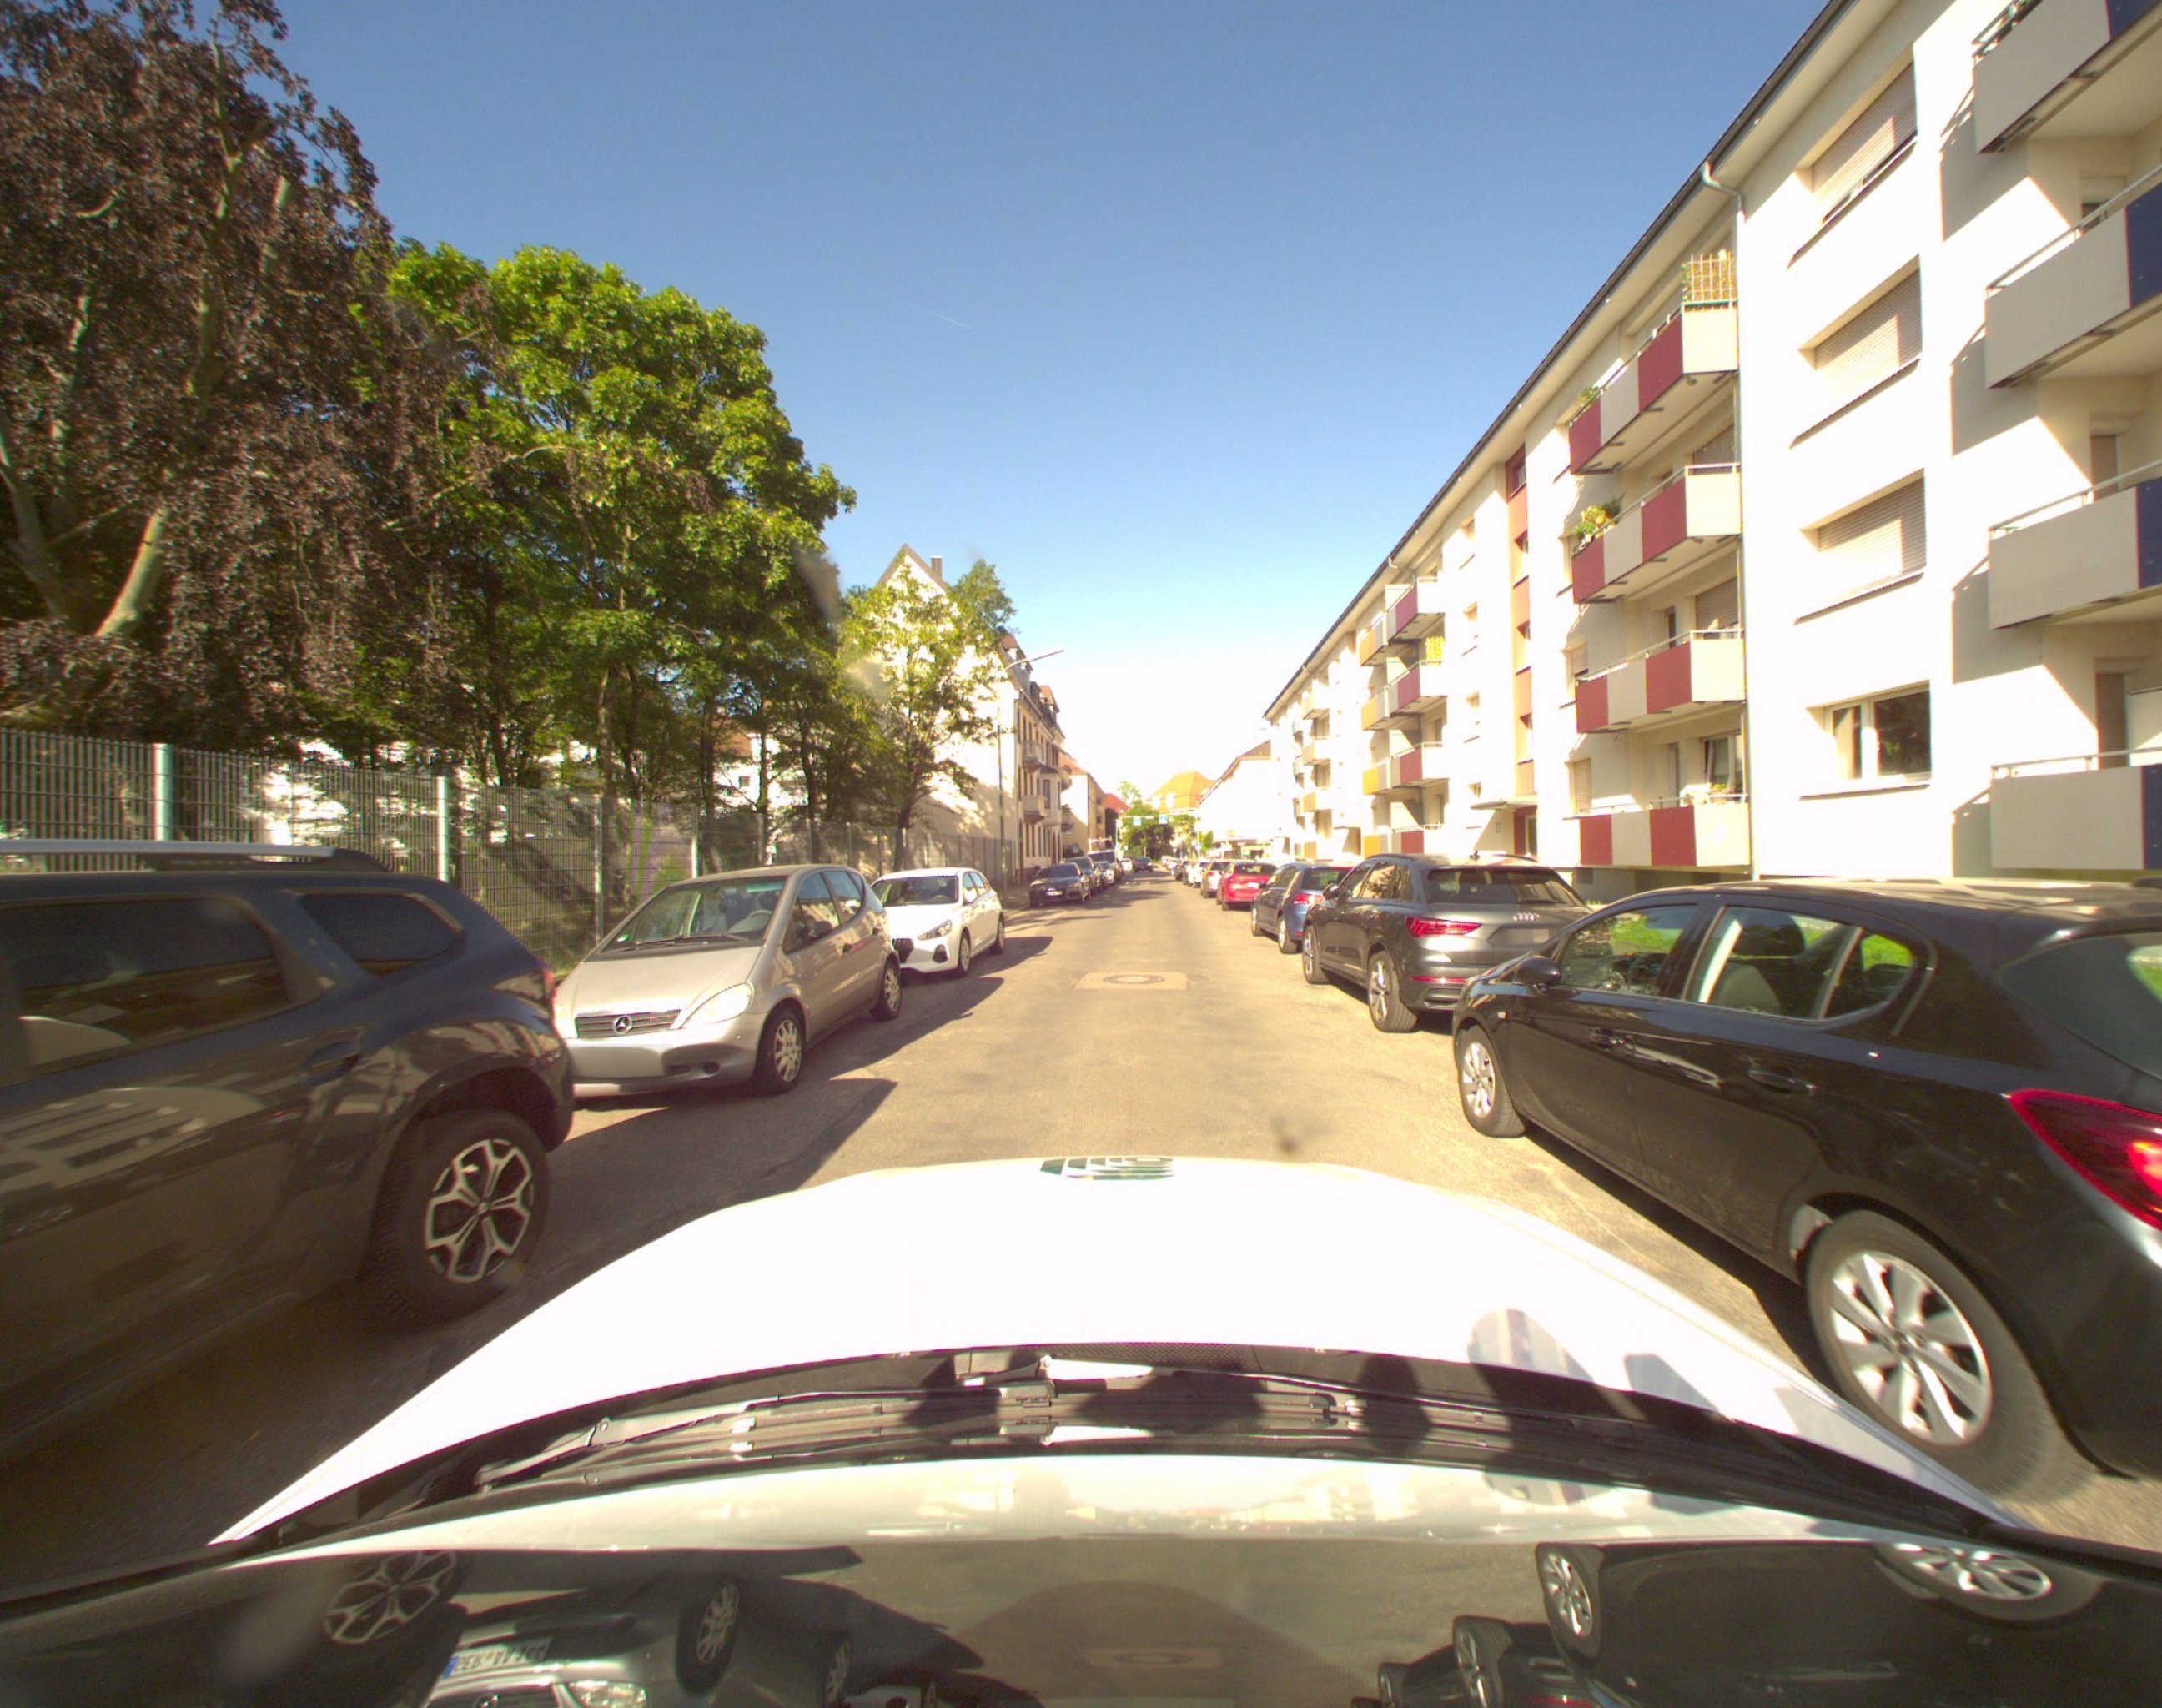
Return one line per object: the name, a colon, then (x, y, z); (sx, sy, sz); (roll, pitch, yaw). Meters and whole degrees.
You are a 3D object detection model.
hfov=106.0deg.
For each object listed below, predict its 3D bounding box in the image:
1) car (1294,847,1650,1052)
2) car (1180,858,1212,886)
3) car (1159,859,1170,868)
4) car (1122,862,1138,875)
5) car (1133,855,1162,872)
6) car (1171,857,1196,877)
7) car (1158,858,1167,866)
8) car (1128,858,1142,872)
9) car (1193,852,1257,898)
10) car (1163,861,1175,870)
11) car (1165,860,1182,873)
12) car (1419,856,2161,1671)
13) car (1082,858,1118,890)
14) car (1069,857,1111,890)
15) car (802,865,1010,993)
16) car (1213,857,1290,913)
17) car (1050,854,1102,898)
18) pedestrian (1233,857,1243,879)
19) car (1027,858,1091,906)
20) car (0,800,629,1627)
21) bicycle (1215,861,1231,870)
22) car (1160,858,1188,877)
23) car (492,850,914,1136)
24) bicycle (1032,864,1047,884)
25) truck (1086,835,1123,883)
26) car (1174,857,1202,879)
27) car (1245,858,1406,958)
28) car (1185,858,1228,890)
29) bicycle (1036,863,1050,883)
car: (3.540, 0.750, 8.354); (1.745, 1.559, 4.257); (0, -1, 2)
car: (6.643, 1.023, 47.228); (1.680, 1.467, 3.588); (1, 0, 5)
car: (14.137, 1.541, 137.671); (1.630, 1.441, 3.422); (-1, -1, 4)
car: (6.015, 1.731, 100.142); (1.783, 1.480, 4.104); (-2, 0, 5)
car: (6.740, 0.949, 82.204); (1.807, 1.634, 4.277); (-2, 0, 18)
car: (7.839, 1.012, 62.494); (1.638, 1.460, 3.943); (0, -1, 4)
car: (16.141, 1.539, 161.216); (1.630, 1.441, 3.422); (-1, -1, 4)
car: (7.412, 1.469, 111.240); (1.689, 1.779, 4.104); (-1, -1, 5)
car: (5.365, 0.774, 30.930); (1.890, 1.622, 4.606); (0, -1, 3)
car: (13.682, 1.752, 126.707); (1.630, 1.441, 3.422); (-1, -1, 4)
car: (10.779, 1.461, 95.100); (1.837, 1.441, 3.423); (-1, -1, 4)
car: (2.884, 0.765, 3.335); (1.598, 1.484, 3.801); (-1, -1, 3)
car: (1.163, 1.139, 47.763); (1.785, 1.541, 4.644); (-7, 0, 3)
car: (0.519, 0.972, 41.283); (1.783, 1.563, 4.466); (0, -1, 5)
car: (-2.298, 0.932, 11.887); (1.786, 1.445, 4.124); (-3, -1, 4)
car: (4.852, 0.850, 23.732); (1.743, 1.444, 4.531); (-1, -1, 6)
car: (-0.130, 0.921, 35.239); (1.871, 1.664, 4.935); (-3, -1, 3)
pedestrian: (10.421, 0.933, 54.097); (0.572, 1.433, 0.472); (-3, 0, 6)
car: (-0.679, 0.930, 28.715); (1.786, 1.471, 4.506); (-3, -1, 3)
car: (-3.072, 0.779, 1.639); (1.705, 1.664, 4.168); (-4, -1, 3)
bicycle: (17.149, 1.398, 98.469); (1.804, 0.967, 0.672); (-1, -1, -6)
car: (7.743, 1.110, 68.284); (1.847, 1.523, 4.777); (0, -1, 1)
car: (-2.713, 0.876, 6.823); (1.557, 1.643, 3.619); (-5, -1, 3)
bicycle: (-2.647, 1.262, 51.815); (0.626, 1.204, 2.344); (-1, 0, 5)
truck: (1.606, 0.357, 54.688); (2.250, 2.986, 7.278); (-1, -1, 2)
car: (7.398, 0.960, 56.777); (1.783, 1.471, 4.345); (-1, -1, 5)
car: (4.064, 0.829, 14.221); (1.745, 1.481, 4.082); (0, -1, 2)
car: (6.469, 1.014, 42.458); (1.679, 1.463, 3.821); (4, -1, 2)
bicycle: (-2.554, 1.240, 54.745); (0.566, 1.279, 2.344); (-1, 0, 5)
